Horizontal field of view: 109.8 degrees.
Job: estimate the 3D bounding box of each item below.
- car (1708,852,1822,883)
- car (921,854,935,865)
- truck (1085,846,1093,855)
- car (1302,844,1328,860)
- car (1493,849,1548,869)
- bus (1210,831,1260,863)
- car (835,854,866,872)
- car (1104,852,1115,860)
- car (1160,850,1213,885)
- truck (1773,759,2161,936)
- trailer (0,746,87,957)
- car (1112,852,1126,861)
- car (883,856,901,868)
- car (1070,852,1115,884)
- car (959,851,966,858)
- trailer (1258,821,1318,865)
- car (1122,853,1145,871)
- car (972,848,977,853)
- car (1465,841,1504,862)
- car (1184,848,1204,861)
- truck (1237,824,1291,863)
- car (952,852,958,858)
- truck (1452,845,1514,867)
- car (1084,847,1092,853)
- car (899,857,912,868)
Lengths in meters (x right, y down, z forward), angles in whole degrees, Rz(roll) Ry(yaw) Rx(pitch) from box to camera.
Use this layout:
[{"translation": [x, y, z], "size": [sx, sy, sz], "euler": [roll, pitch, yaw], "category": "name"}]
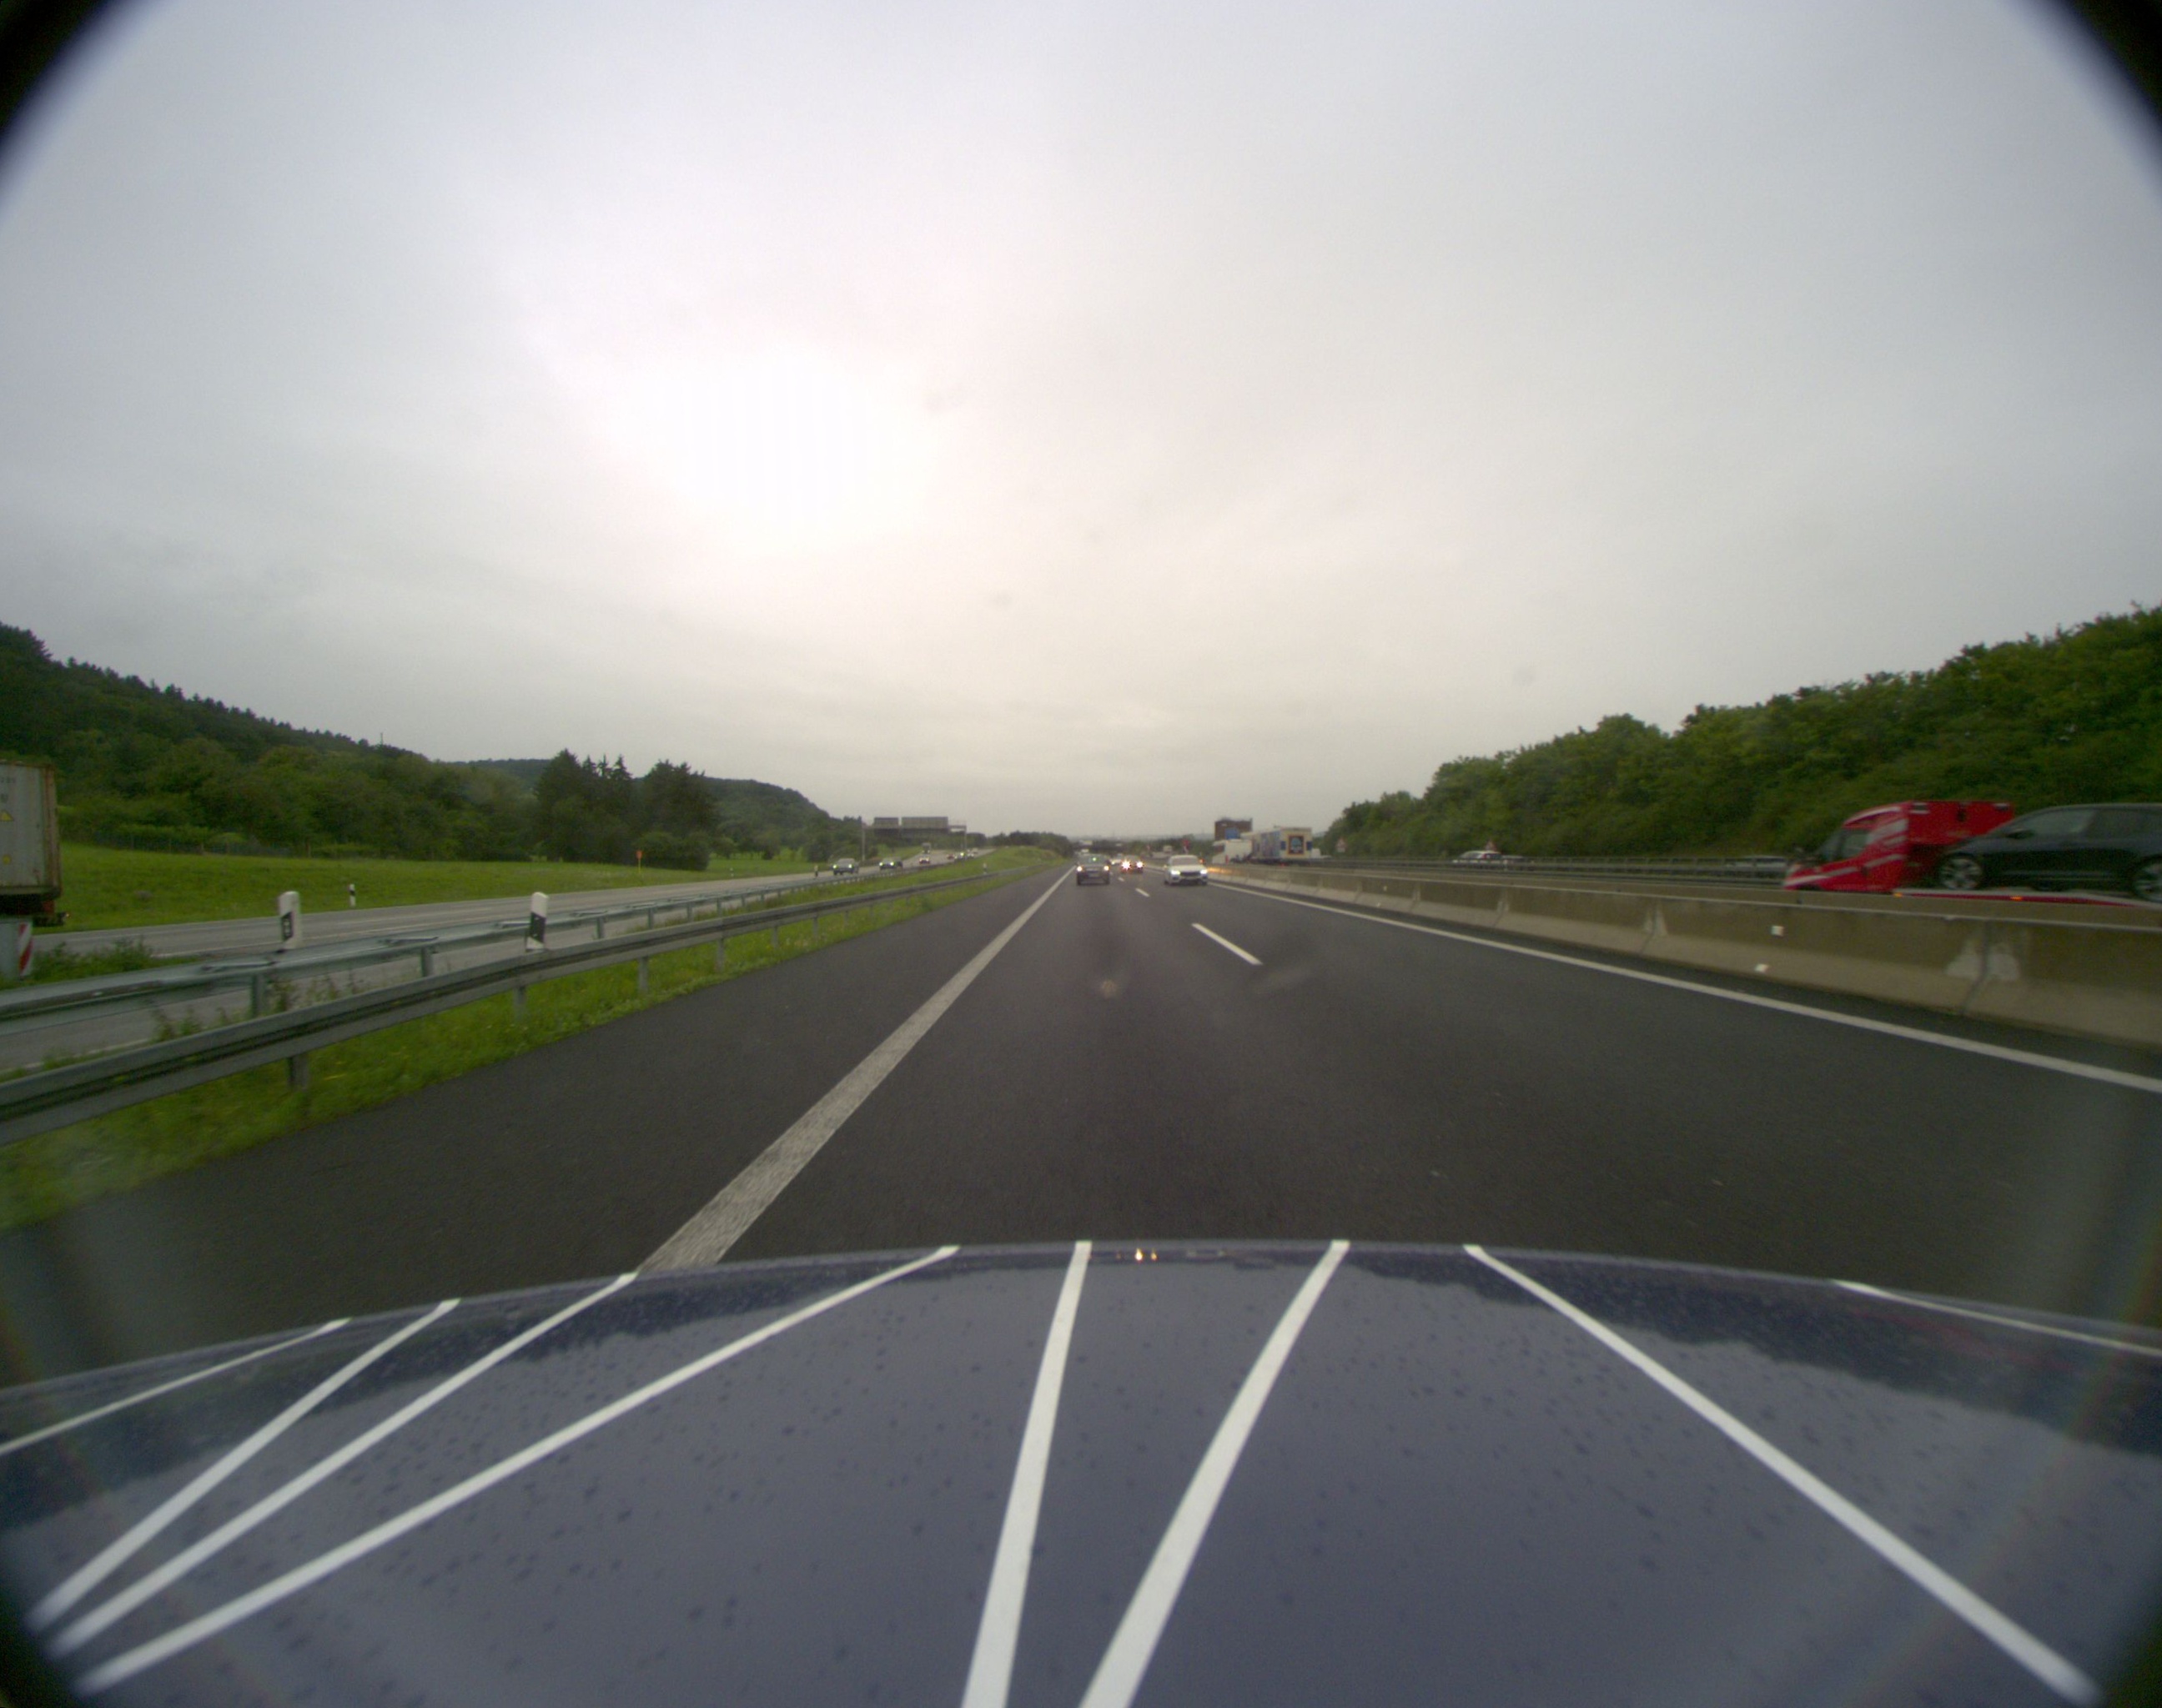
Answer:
[{"translation": [32.337, 0.607, 36.095], "size": [1.802, 1.368, 3.999], "euler": [-1, 0, 0], "category": "car"}, {"translation": [-30.294, 1.078, 150.504], "size": [1.999, 2.002, 3.998], "euler": [-1, 0, -4], "category": "car"}, {"translation": [2.782, -1.198, 263.010], "size": [2.728, 3.098, 7.960], "euler": [-3, 0, 1], "category": "truck"}, {"translation": [34.200, -0.278, 111.377], "size": [1.998, 2.200, 5.715], "euler": [-1, 0, 0], "category": "car"}, {"translation": [31.645, 0.352, 54.880], "size": [1.537, 1.361, 4.114], "euler": [-1, 0, -1], "category": "car"}, {"translation": [13.522, -0.602, 67.462], "size": [2.548, 2.571, 8.269], "euler": [-3, 1, -1], "category": "bus"}, {"translation": [-23.164, 0.889, 76.480], "size": [1.999, 1.710, 4.317], "euler": [-1, 0, -3], "category": "car"}, {"translation": [5.776, 0.415, 153.743], "size": [1.998, 1.565, 4.000], "euler": [-3, 0, 1], "category": "car"}, {"translation": [5.227, 0.629, 38.106], "size": [1.998, 1.582, 4.816], "euler": [-2, 0, 1], "category": "car"}, {"translation": [16.950, -0.152, 13.717], "size": [2.433, 2.579, 7.092], "euler": [-2, 1, 0], "category": "truck"}, {"translation": [-21.083, 0.015, 9.178], "size": [2.498, 3.961, 12.399], "euler": [-3, 1, -5], "category": "trailer"}, {"translation": [5.849, 0.349, 117.739], "size": [1.942, 1.341, 4.000], "euler": [-2, 0, 1], "category": "car"}, {"translation": [-25.421, 1.028, 102.391], "size": [2.000, 1.463, 4.314], "euler": [-1, 0, -9], "category": "car"}, {"translation": [0.683, 0.718, 41.277], "size": [2.242, 1.565, 4.817], "euler": [-2, 0, 2], "category": "car"}, {"translation": [-30.416, 0.134, 195.026], "size": [1.585, 1.543, 3.997], "euler": [-3, 1, -6], "category": "car"}, {"translation": [17.959, -0.953, 66.464], "size": [2.950, 3.496, 8.051], "euler": [-2, 1, 1], "category": "trailer"}, {"translation": [4.444, 0.678, 64.992], "size": [1.835, 1.417, 4.368], "euler": [-1, 0, 2], "category": "car"}, {"translation": [-33.974, -1.250, 242.385], "size": [1.585, 1.543, 3.997], "euler": [-3, 1, -9], "category": "car"}, {"translation": [39.837, -0.237, 75.112], "size": [1.754, 2.002, 4.000], "euler": [-1, 0, 1], "category": "car"}, {"translation": [14.384, 0.053, 96.737], "size": [1.998, 1.608, 4.000], "euler": [-2, 0, 0], "category": "car"}, {"translation": [18.076, -1.033, 75.895], "size": [2.815, 3.504, 10.640], "euler": [-3, 0, 1], "category": "truck"}, {"translation": [-34.794, 0.199, 210.524], "size": [1.585, 1.543, 3.997], "euler": [-3, 1, -9], "category": "car"}, {"translation": [28.827, 0.098, 54.659], "size": [1.999, 1.487, 4.470], "euler": [-1, 0, -3], "category": "truck"}, {"translation": [1.818, -0.890, 187.566], "size": [1.942, 1.341, 4.000], "euler": [-3, 0, 1], "category": "car"}, {"translation": [-26.993, 1.260, 117.034], "size": [1.752, 1.499, 3.996], "euler": [-3, 1, -10], "category": "car"}]
